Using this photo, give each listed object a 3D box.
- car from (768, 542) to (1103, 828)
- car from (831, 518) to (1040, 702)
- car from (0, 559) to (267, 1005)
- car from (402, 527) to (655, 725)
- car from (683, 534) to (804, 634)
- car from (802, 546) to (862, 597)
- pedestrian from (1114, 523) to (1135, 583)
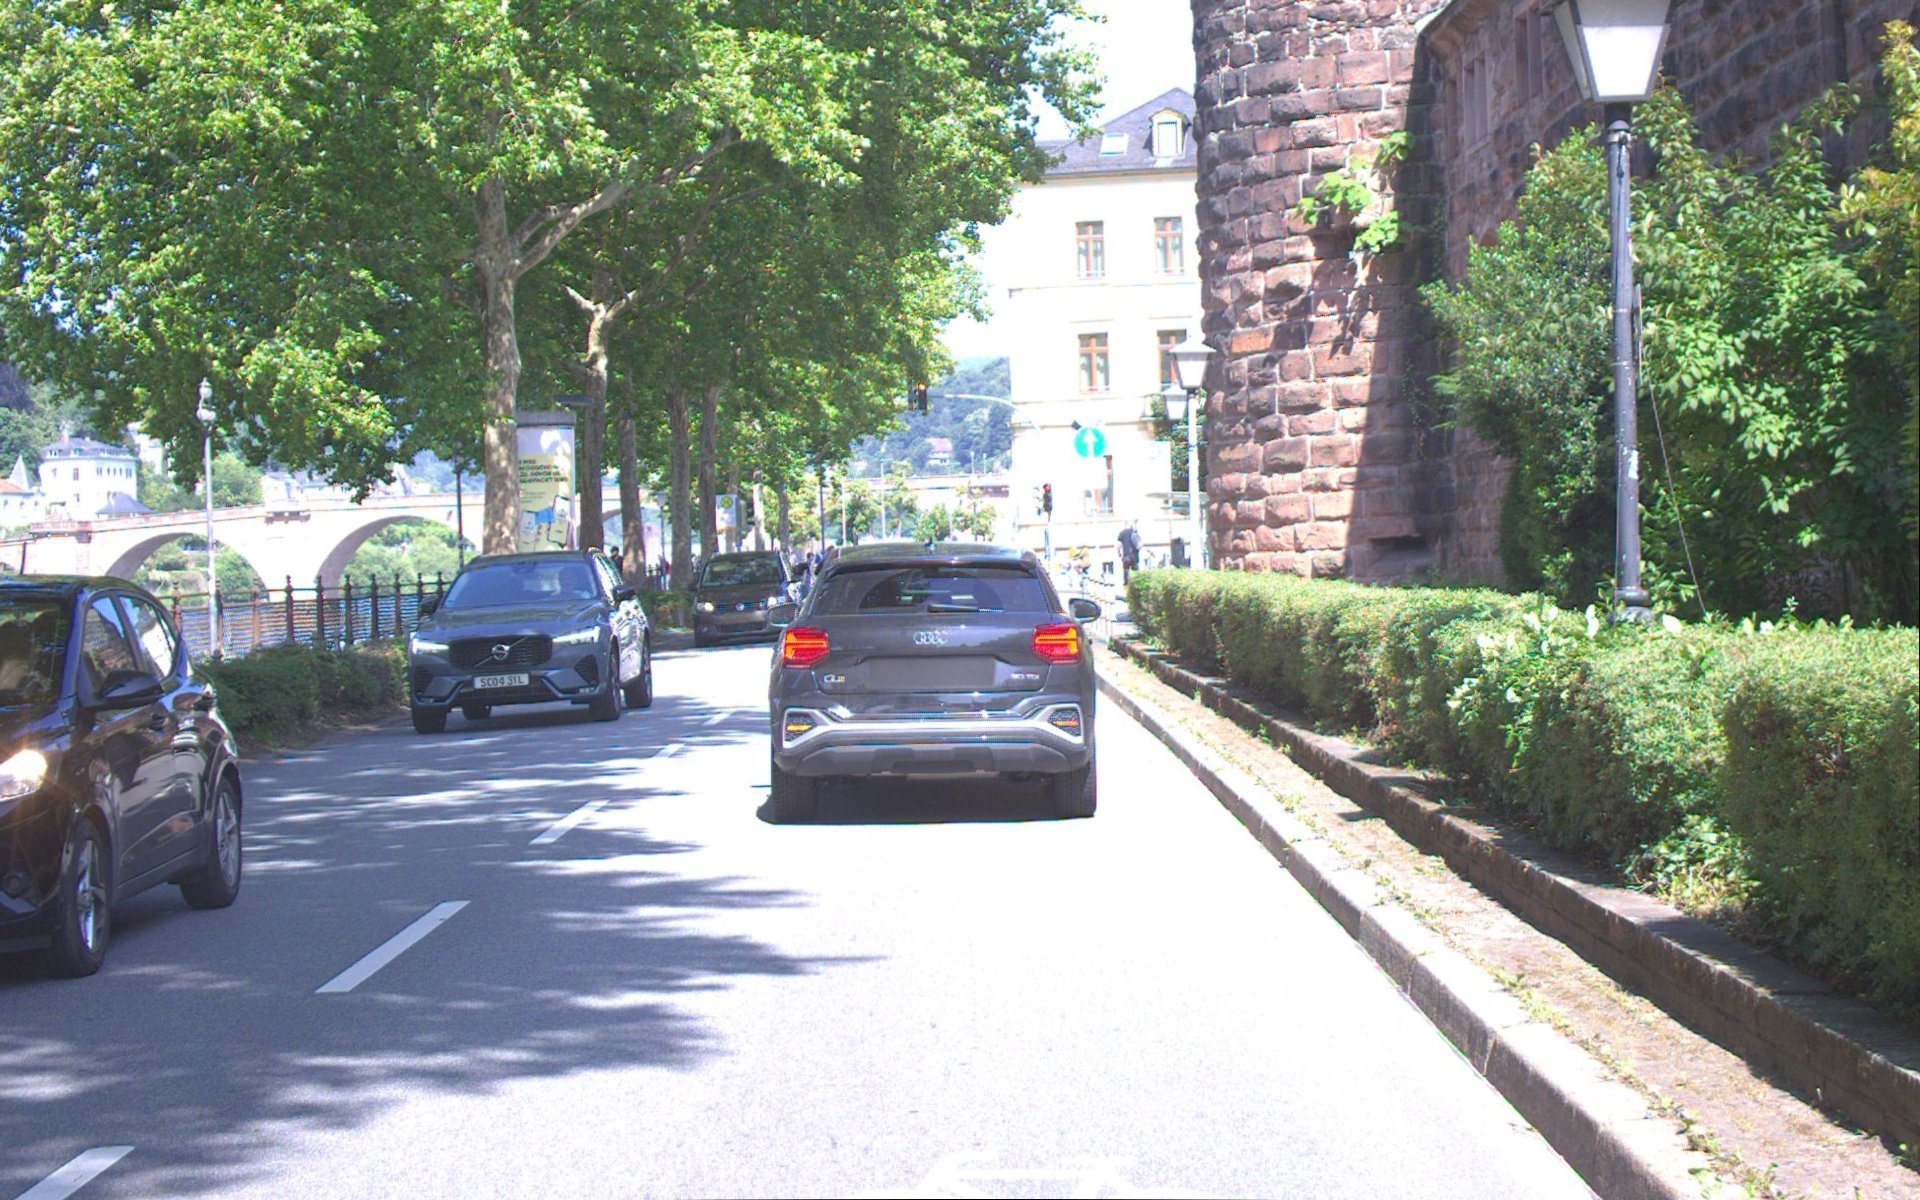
[{"bbox_3d":[-0.160,0.415,19.734,1.748,1.489,3.629,0,1,-1],"label":"car"},{"bbox_3d":[-0.199,0.055,32.644,1.801,1.557,3.716,-3,1,1],"label":"car"},{"bbox_3d":[-3.957,0.637,13.551,1.649,1.464,3.780,-3,1,-1],"label":"car"},{"bbox_3d":[-4.083,0.199,33.148,1.877,1.692,4.259,-3,1,-1],"label":"car"},{"bbox_3d":[-3.811,-0.311,61.154,1.763,1.642,4.090,-3,1,1],"label":"car"},{"bbox_3d":[-4.131,-0.934,111.067,1.615,1.518,3.476,-3,1,2],"label":"car"},{"bbox_3d":[4.425,-1.267,92.628,0.557,1.627,0.660,0,0,1],"label":"pedestrian"}]
